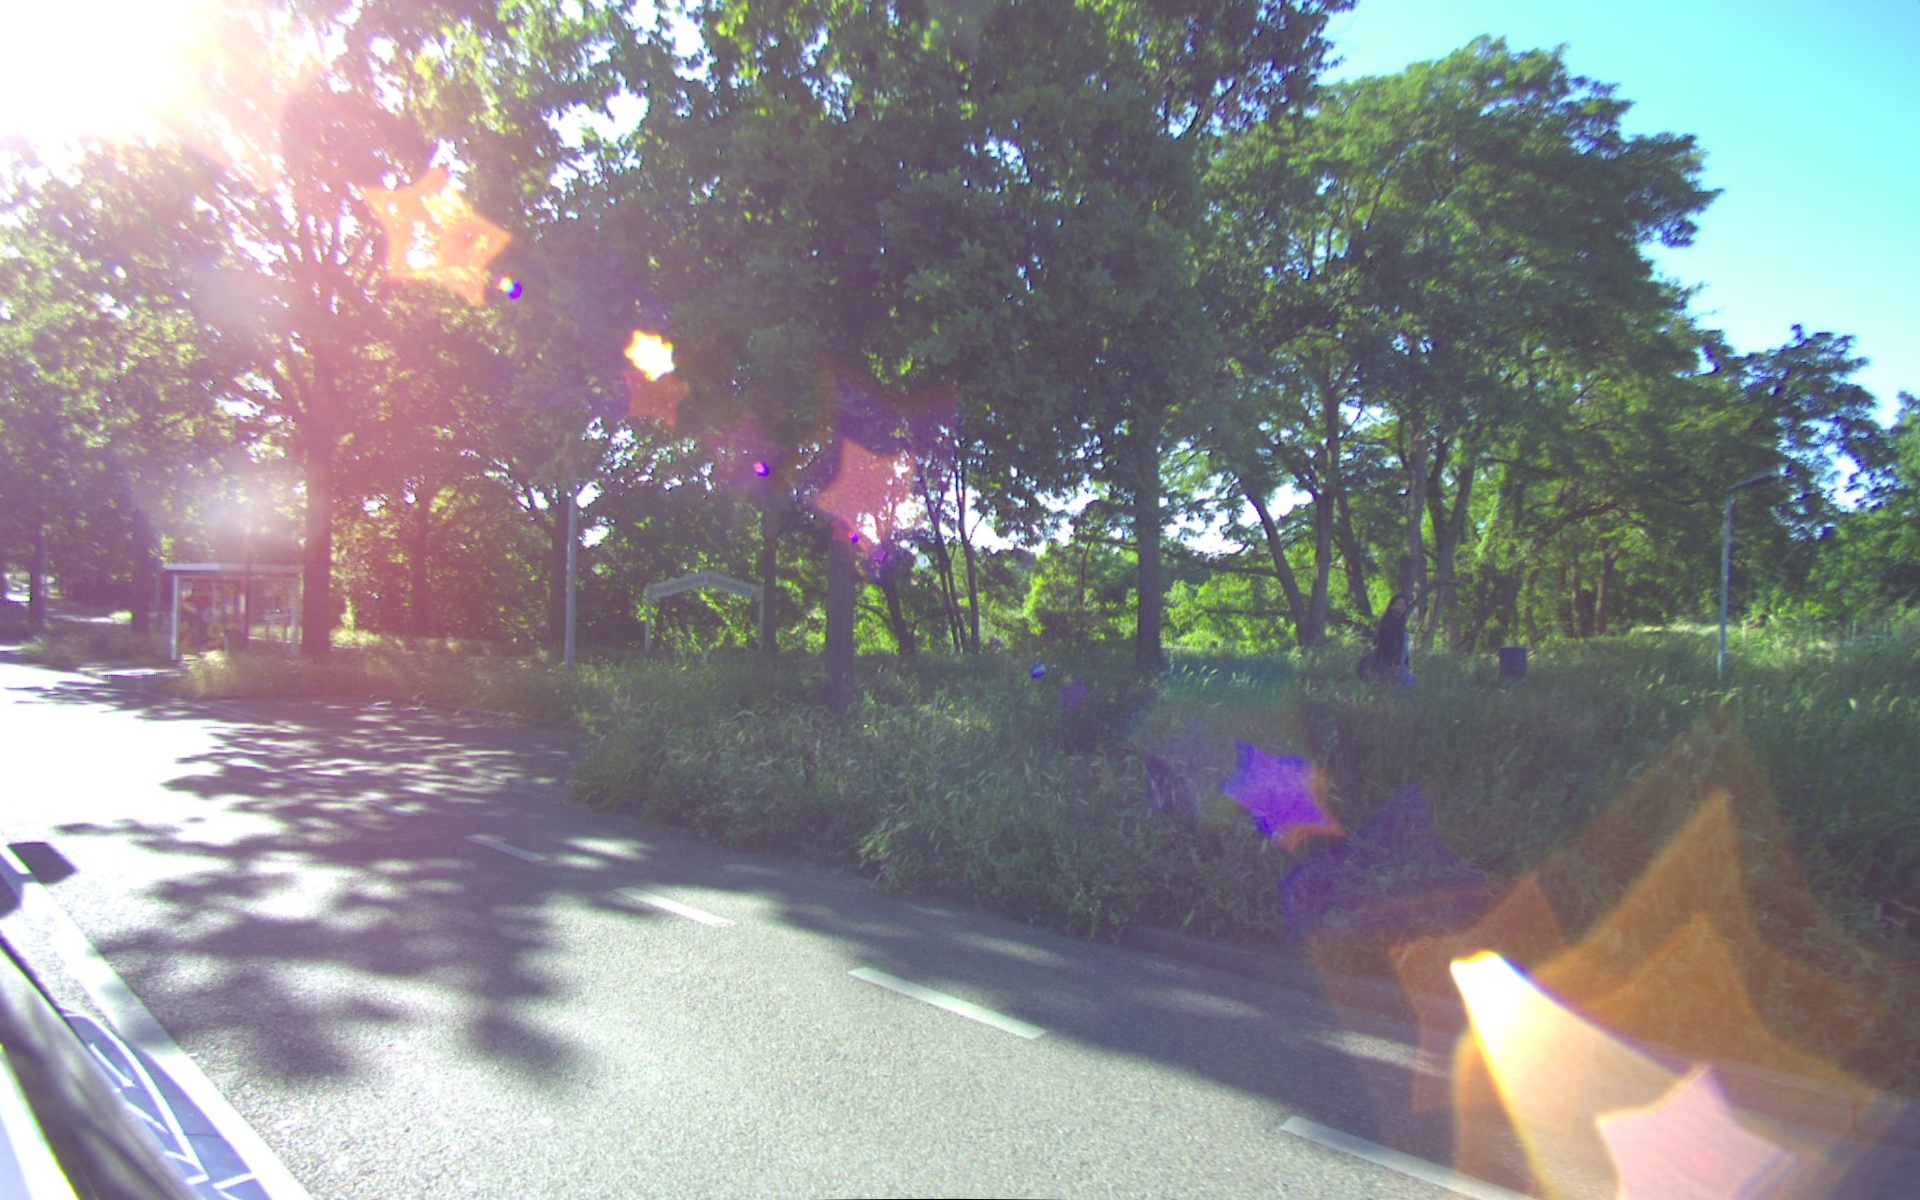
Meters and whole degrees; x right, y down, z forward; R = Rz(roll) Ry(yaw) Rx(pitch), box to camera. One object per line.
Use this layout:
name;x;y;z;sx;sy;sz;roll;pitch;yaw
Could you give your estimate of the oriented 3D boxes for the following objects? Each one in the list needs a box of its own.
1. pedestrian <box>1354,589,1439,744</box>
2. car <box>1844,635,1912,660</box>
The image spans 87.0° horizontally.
pedestrian;4.848;0.706;11.241;0.647;1.646;0.790;-1;0;41
car;75.857;3.908;83.719;3.994;1.940;1.975;-1;0;37
